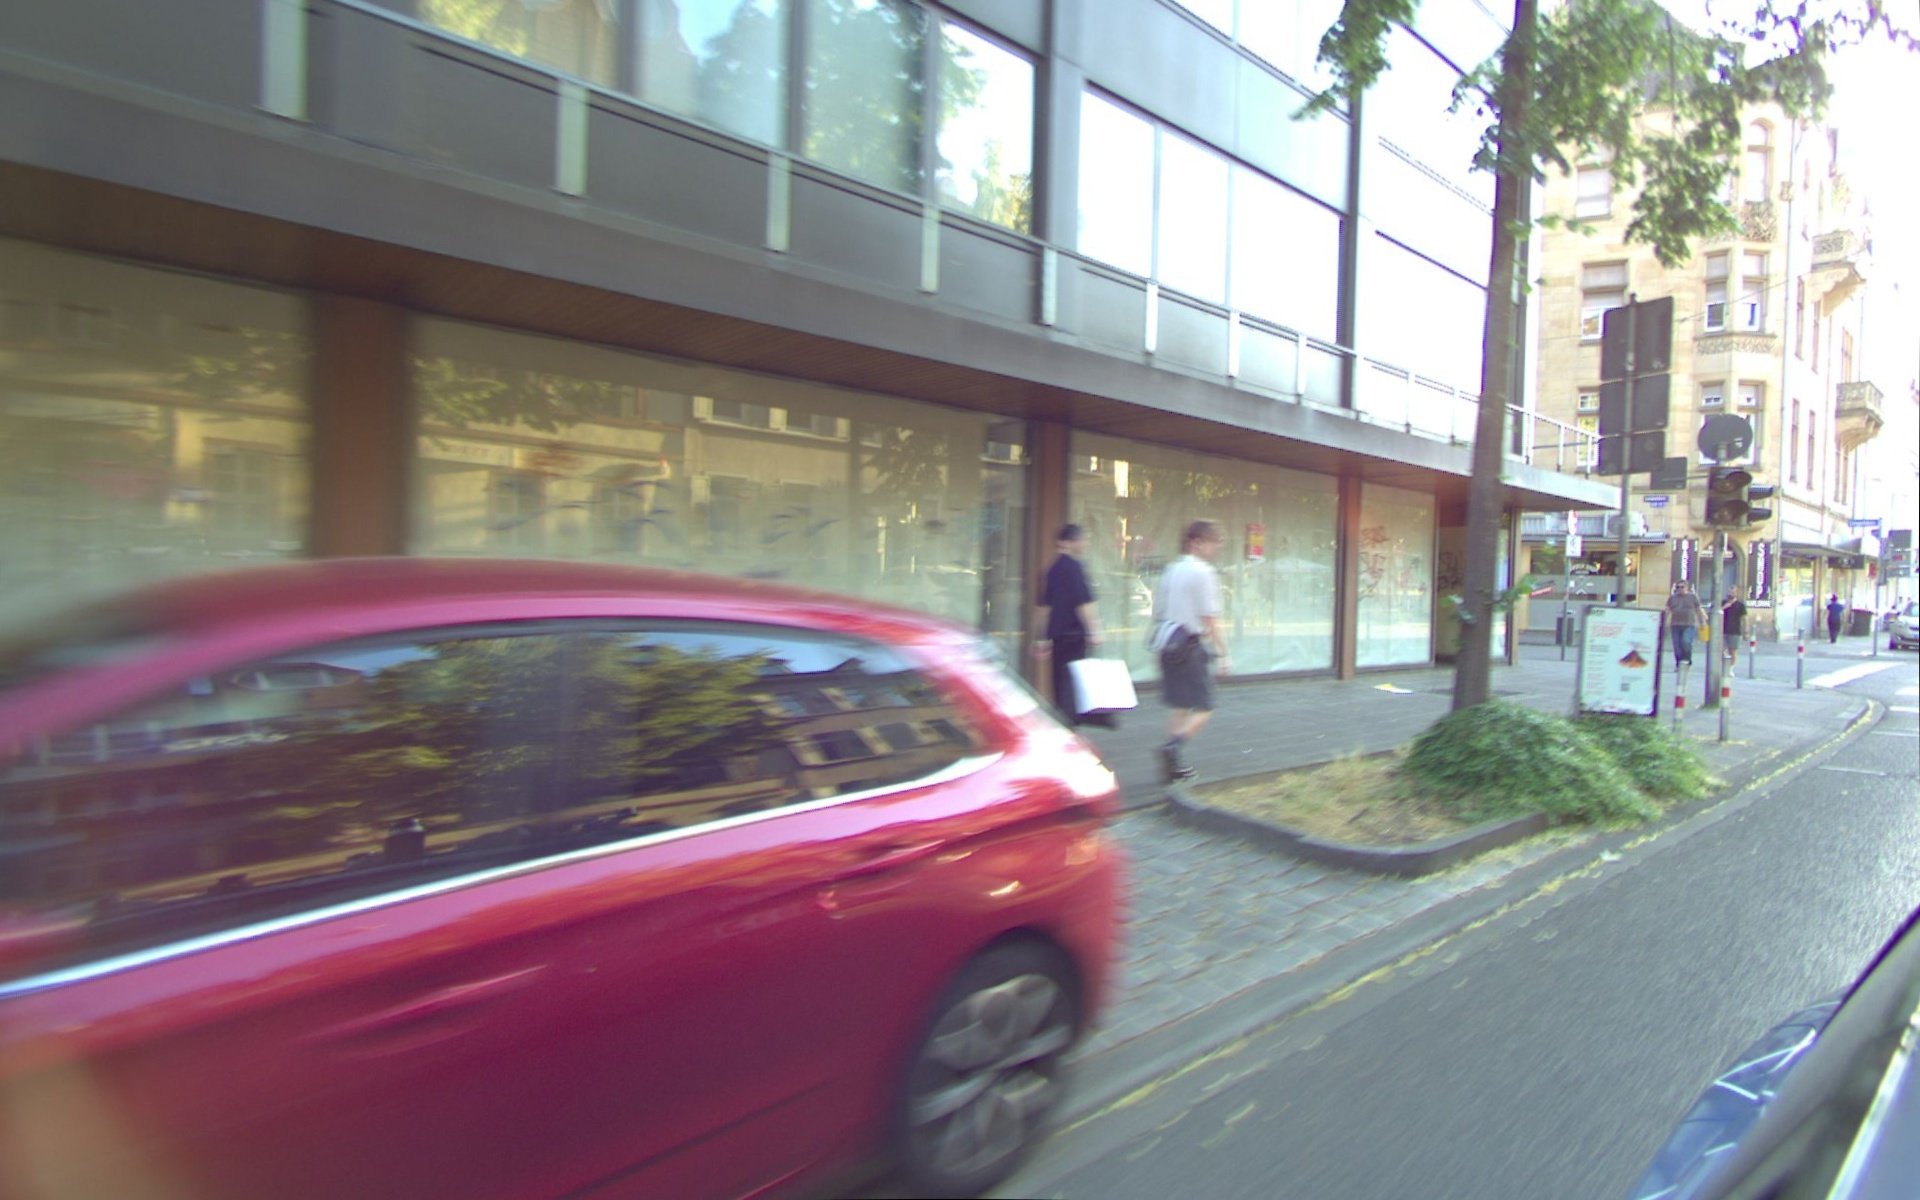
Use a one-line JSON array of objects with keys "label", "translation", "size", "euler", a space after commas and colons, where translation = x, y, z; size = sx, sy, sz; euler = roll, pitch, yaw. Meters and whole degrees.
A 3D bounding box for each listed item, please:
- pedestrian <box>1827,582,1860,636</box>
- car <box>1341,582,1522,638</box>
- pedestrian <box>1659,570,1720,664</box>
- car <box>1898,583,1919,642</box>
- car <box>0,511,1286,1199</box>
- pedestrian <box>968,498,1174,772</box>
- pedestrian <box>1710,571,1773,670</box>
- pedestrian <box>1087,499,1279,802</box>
[{"label": "pedestrian", "translation": [28.435, 0.285, 32.576], "size": [0.591, 1.682, 0.600], "euler": [0, 3, -35]}, {"label": "car", "translation": [13.947, 0.252, 30.113], "size": [4.720, 1.436, 1.961], "euler": [2, 1, 27]}, {"label": "pedestrian", "translation": [14.218, 0.315, 19.718], "size": [0.798, 1.780, 0.756], "euler": [0, 1, -41]}, {"label": "car", "translation": [29.691, 0.426, 30.356], "size": [3.727, 1.667, 1.759], "euler": [0, 5, -41]}, {"label": "car", "translation": [-1.354, 0.603, 2.192], "size": [4.670, 1.510, 1.726], "euler": [0, 4, -42]}, {"label": "pedestrian", "translation": [0.792, 0.195, 7.365], "size": [0.928, 1.807, 1.049], "euler": [0, 4, -41]}, {"label": "pedestrian", "translation": [14.599, 0.361, 18.902], "size": [0.798, 1.780, 0.756], "euler": [0, 1, -41]}, {"label": "pedestrian", "translation": [1.453, 0.285, 6.621], "size": [0.854, 1.806, 0.732], "euler": [0, 5, -41]}]
